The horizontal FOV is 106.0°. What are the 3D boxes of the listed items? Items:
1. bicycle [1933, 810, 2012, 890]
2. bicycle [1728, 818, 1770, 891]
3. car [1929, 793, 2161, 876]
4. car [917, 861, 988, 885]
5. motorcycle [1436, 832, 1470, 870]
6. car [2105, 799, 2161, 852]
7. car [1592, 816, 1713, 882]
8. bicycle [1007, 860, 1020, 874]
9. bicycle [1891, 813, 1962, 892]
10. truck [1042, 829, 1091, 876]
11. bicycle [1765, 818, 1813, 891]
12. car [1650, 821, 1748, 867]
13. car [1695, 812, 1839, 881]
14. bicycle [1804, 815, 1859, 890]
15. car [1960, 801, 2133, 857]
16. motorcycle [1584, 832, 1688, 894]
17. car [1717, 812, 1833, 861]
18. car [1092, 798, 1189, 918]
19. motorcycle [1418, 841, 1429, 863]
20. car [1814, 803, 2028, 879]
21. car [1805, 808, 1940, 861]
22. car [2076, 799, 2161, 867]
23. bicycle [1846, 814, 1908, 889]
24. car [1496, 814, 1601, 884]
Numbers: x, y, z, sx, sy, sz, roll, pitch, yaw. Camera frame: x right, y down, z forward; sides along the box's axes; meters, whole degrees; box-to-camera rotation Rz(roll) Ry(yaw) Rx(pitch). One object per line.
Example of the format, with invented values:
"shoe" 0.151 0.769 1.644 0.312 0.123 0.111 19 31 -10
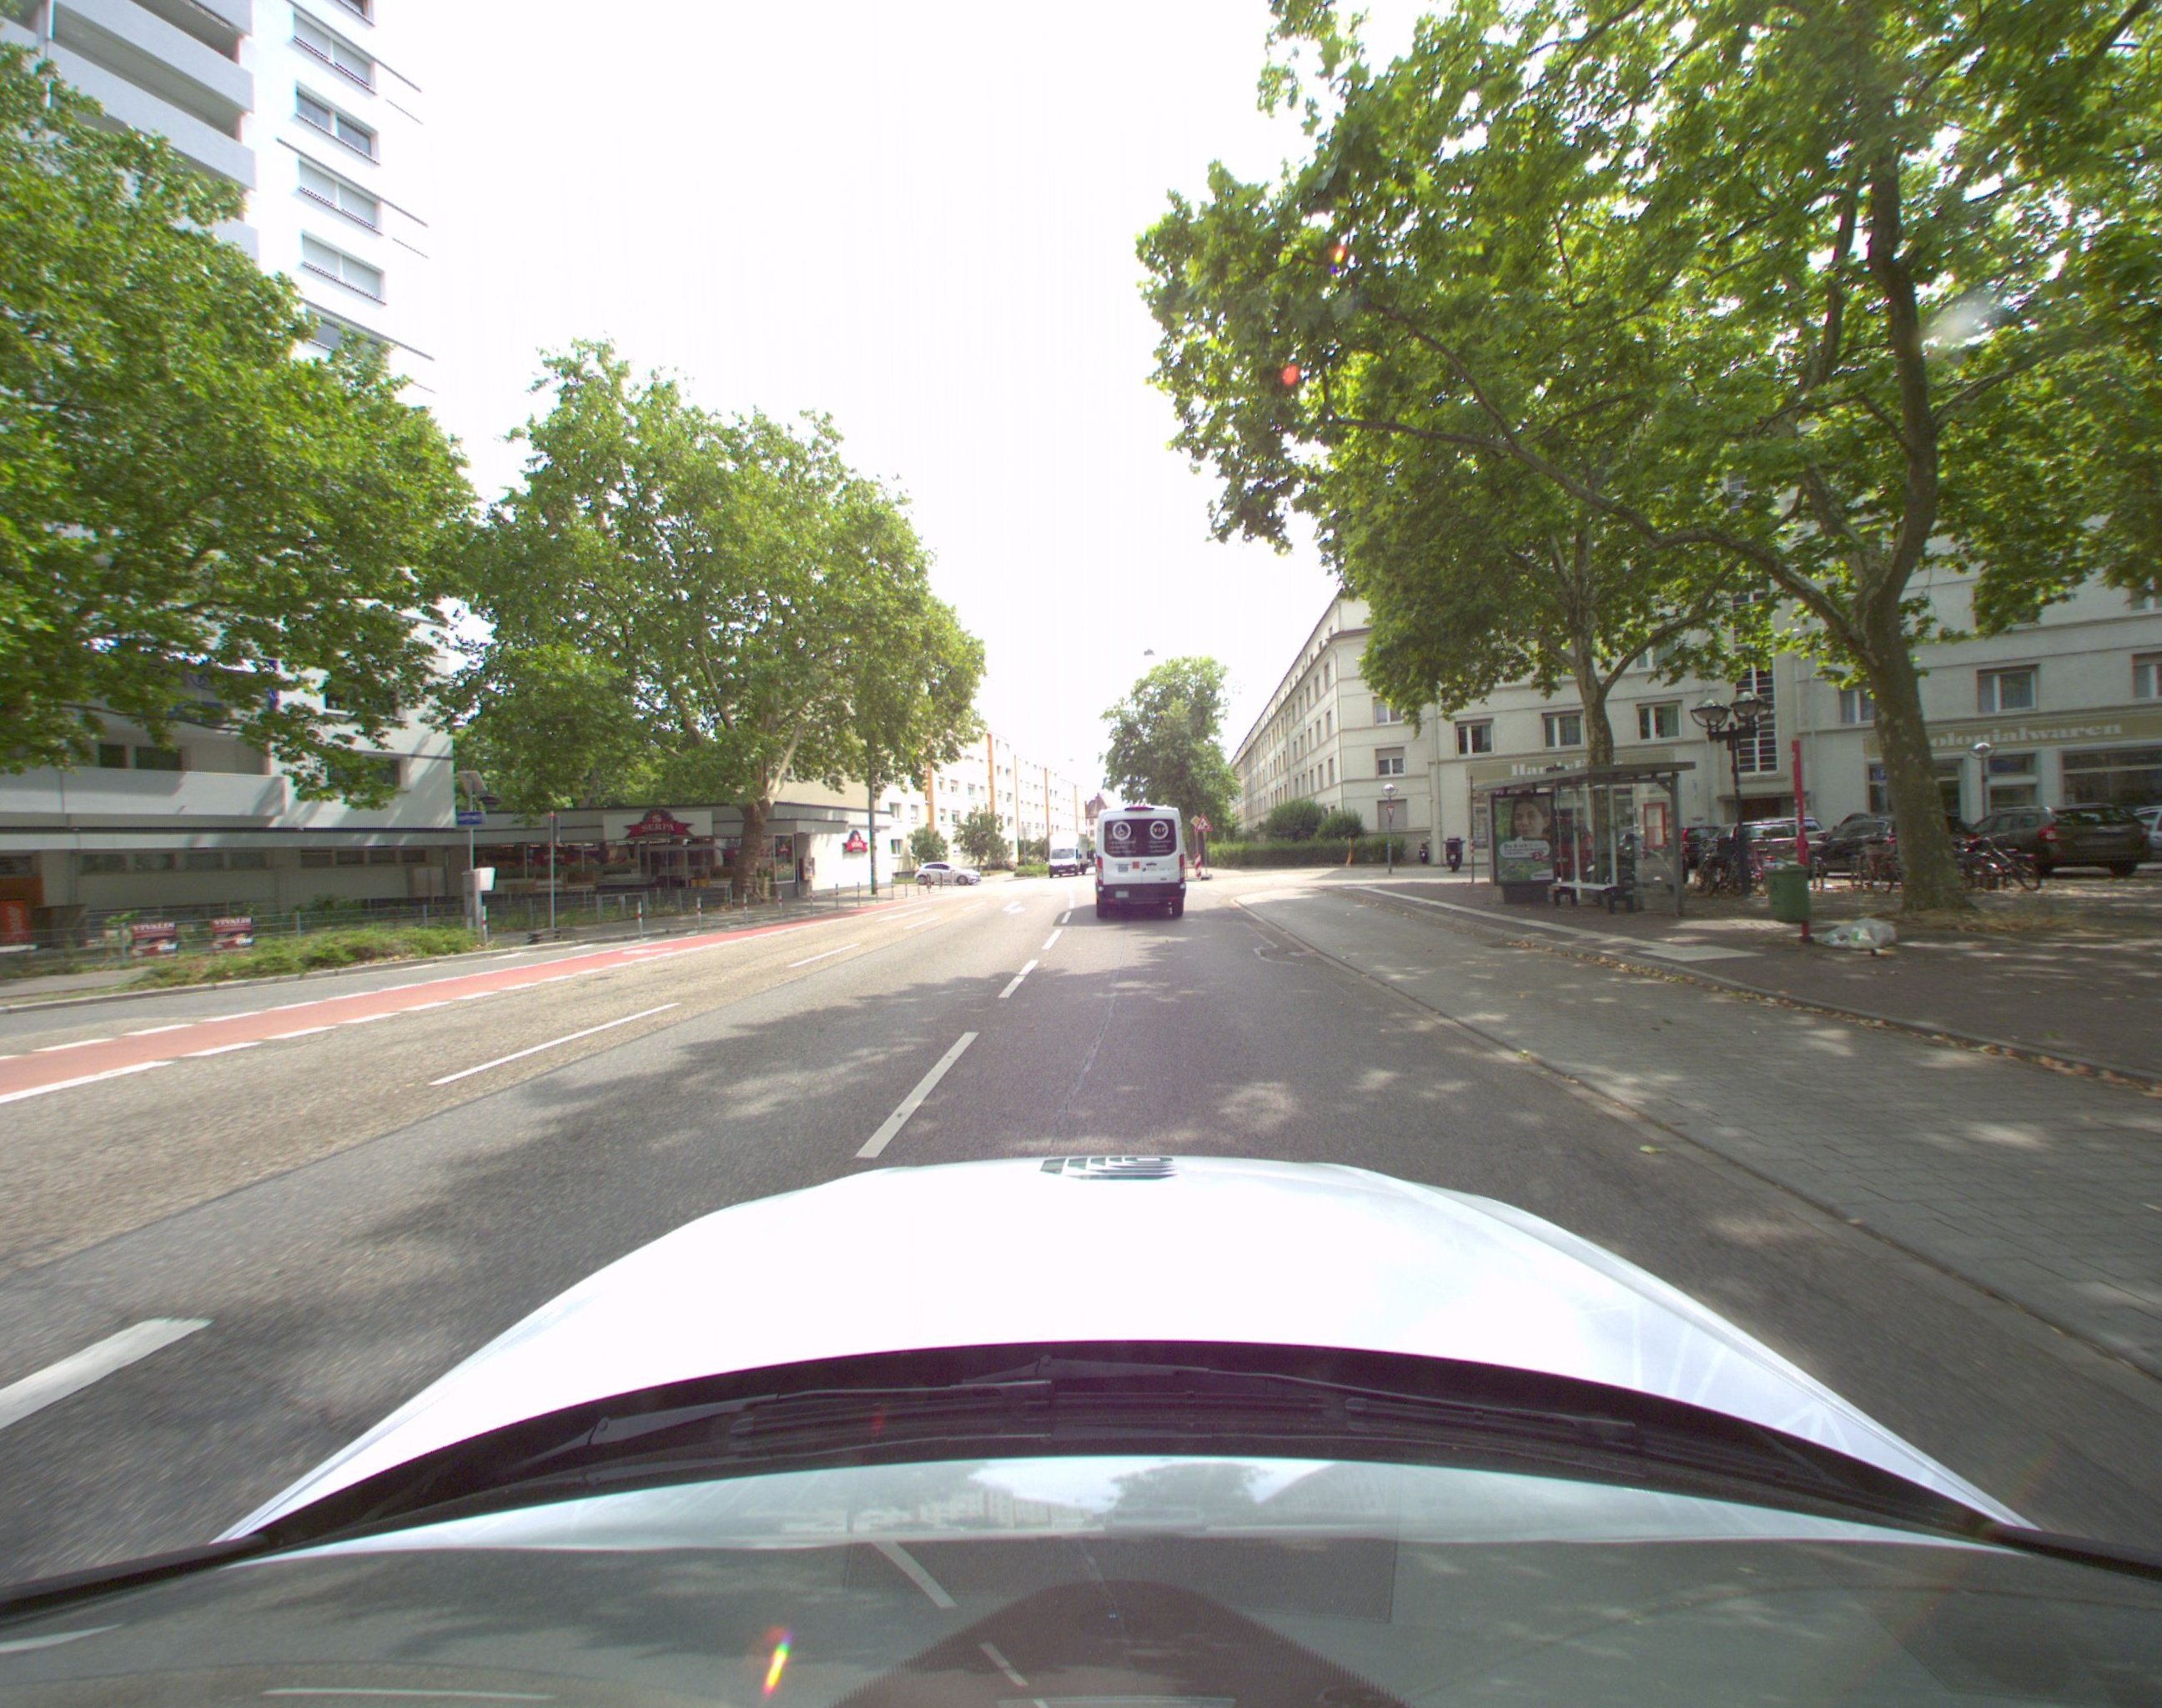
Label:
"bicycle" 16.565 -0.095 15.184 0.415 1.378 2.326 -3 0 34
"bicycle" 13.836 -0.021 16.908 0.415 1.378 2.327 -3 1 34
"car" 21.706 -0.414 18.451 1.976 1.599 4.022 -3 0 23
"car" -8.248 1.212 52.539 4.148 1.450 1.853 0 0 8
"motorcycle" 15.213 -0.155 33.362 0.826 1.461 2.315 -3 1 14
"car" 33.259 -0.892 24.049 1.975 1.591 4.219 -3 0 24
"car" 15.449 -0.141 22.245 1.811 1.552 4.022 -3 0 23
"bicycle" -6.964 1.333 83.764 0.574 1.251 1.943 -3 1 17
"bicycle" 15.986 -0.055 15.450 0.415 1.378 2.326 -3 0 34
"truck" -0.987 -0.107 60.197 2.529 3.107 7.032 -5 0 6
"bicycle" 14.358 -0.016 16.553 0.415 1.378 2.326 -3 0 34
"car" 22.450 -0.376 29.774 1.975 1.504 4.219 -3 0 25
"car" 16.946 -0.199 20.345 1.729 1.464 4.210 -3 0 26
"bicycle" 14.873 -0.069 16.186 0.415 1.378 2.326 -3 1 34
"car" 31.443 -0.788 26.721 1.975 1.591 4.219 -3 0 24
"motorcycle" 11.933 0.189 17.528 1.848 1.222 0.531 -3 1 -1
"car" 23.975 -0.595 28.335 1.975 1.487 4.219 -3 0 25
"car" 1.494 0.088 19.947 2.060 2.540 4.641 -1 0 5
"motorcycle" 17.089 -0.118 40.647 0.428 1.016 1.457 -3 1 23
"car" 19.146 -0.292 18.850 1.976 1.464 4.022 -3 0 23
"car" 26.631 -0.650 27.600 1.975 1.591 4.219 -3 0 25
"car" 24.247 -0.507 17.474 1.976 1.464 4.022 -3 0 23
"bicycle" 15.574 -0.086 15.974 0.415 1.378 2.326 -3 1 34
"car" 12.977 -0.150 22.861 1.915 1.706 4.354 -3 0 22
